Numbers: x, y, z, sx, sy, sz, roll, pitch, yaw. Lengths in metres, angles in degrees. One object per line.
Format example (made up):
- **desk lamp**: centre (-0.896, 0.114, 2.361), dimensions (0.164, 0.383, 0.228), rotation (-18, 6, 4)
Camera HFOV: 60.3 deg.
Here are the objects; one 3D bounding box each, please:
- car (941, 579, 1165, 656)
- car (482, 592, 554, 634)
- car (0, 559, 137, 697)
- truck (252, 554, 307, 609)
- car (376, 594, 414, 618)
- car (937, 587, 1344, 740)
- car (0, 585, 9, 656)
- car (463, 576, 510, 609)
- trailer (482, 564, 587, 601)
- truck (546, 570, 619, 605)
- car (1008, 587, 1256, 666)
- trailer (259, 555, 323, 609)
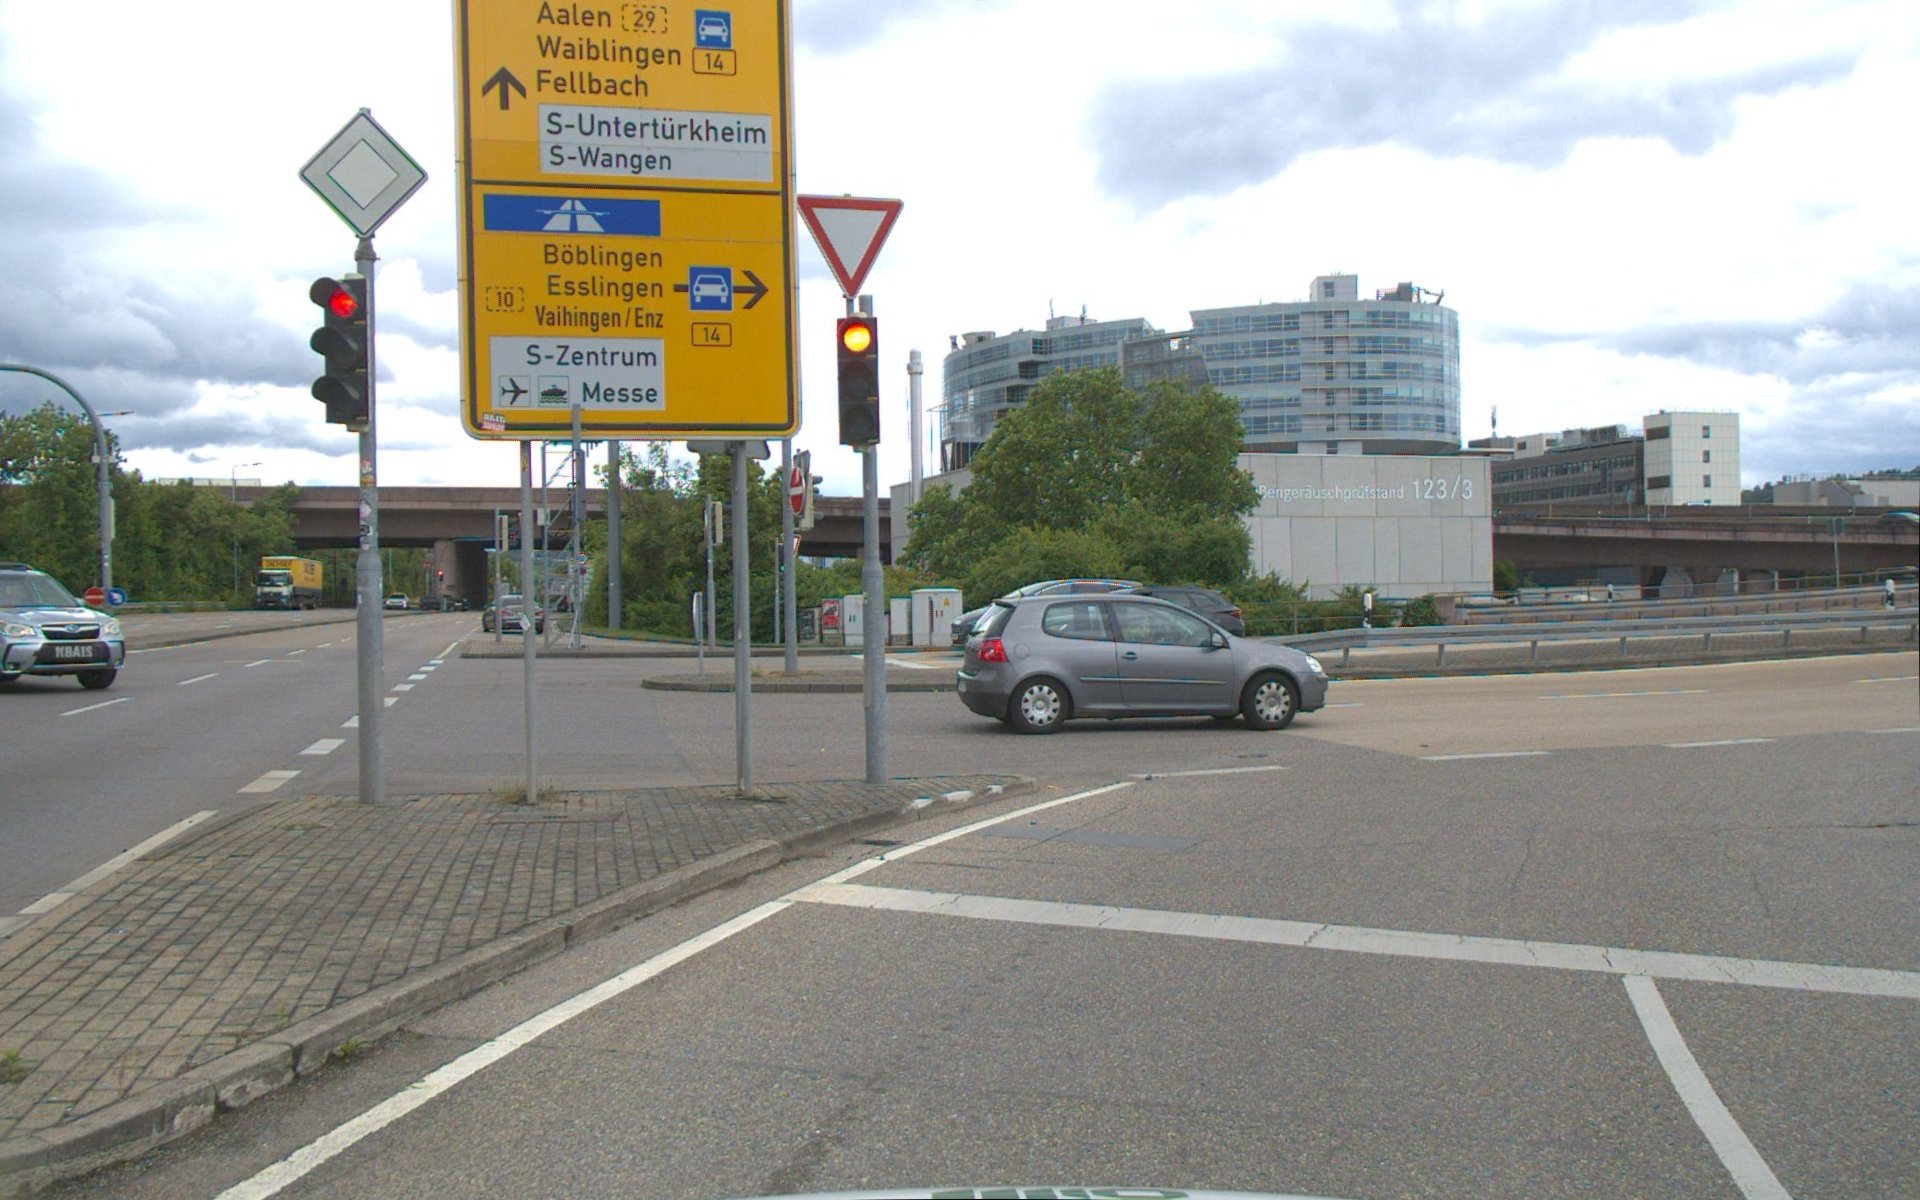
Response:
- **car**: centre (2.054, 0.356, 36.731), dimensions (4.604, 1.599, 1.947), rotation (0, 1, -17)
- **car**: centre (-16.733, 0.508, 62.486), dimensions (1.968, 1.467, 4.078), rotation (1, -2, -25)
- **car**: centre (-13.550, 0.345, 23.132), dimensions (4.462, 1.767, 1.724), rotation (0, 1, 35)
- **truck**: centre (-53.762, -1.463, 130.817), dimensions (2.821, 4.155, 6.467), rotation (2, 0, -12)
- **car**: centre (-51.541, 0.536, 150.932), dimensions (1.981, 1.892, 3.944), rotation (3, 1, -40)
- **car**: centre (1.927, 0.641, 18.212), dimensions (4.152, 1.487, 1.726), rotation (-1, 1, -9)
- **car**: centre (-21.104, 0.411, 34.933), dimensions (1.707, 1.425, 4.024), rotation (-1, 1, -31)
- **car**: centre (-23.031, -0.343, 80.594), dimensions (1.959, 1.490, 4.095), rotation (1, -2, -13)
- **trailer**: centre (-37.197, -1.521, 144.825), dimensions (8.441, 2.669, 2.587), rotation (4, -1, -28)
- **truck**: centre (-33.533, -1.143, 146.900), dimensions (5.693, 2.669, 2.598), rotation (4, -1, -27)
- **car**: centre (3.412, 0.491, 32.922), dimensions (4.533, 1.482, 1.946), rotation (0, 1, -18)
- **trailer**: centre (-54.906, -1.465, 135.992), dimensions (2.821, 4.155, 11.392), rotation (2, 0, -12)
